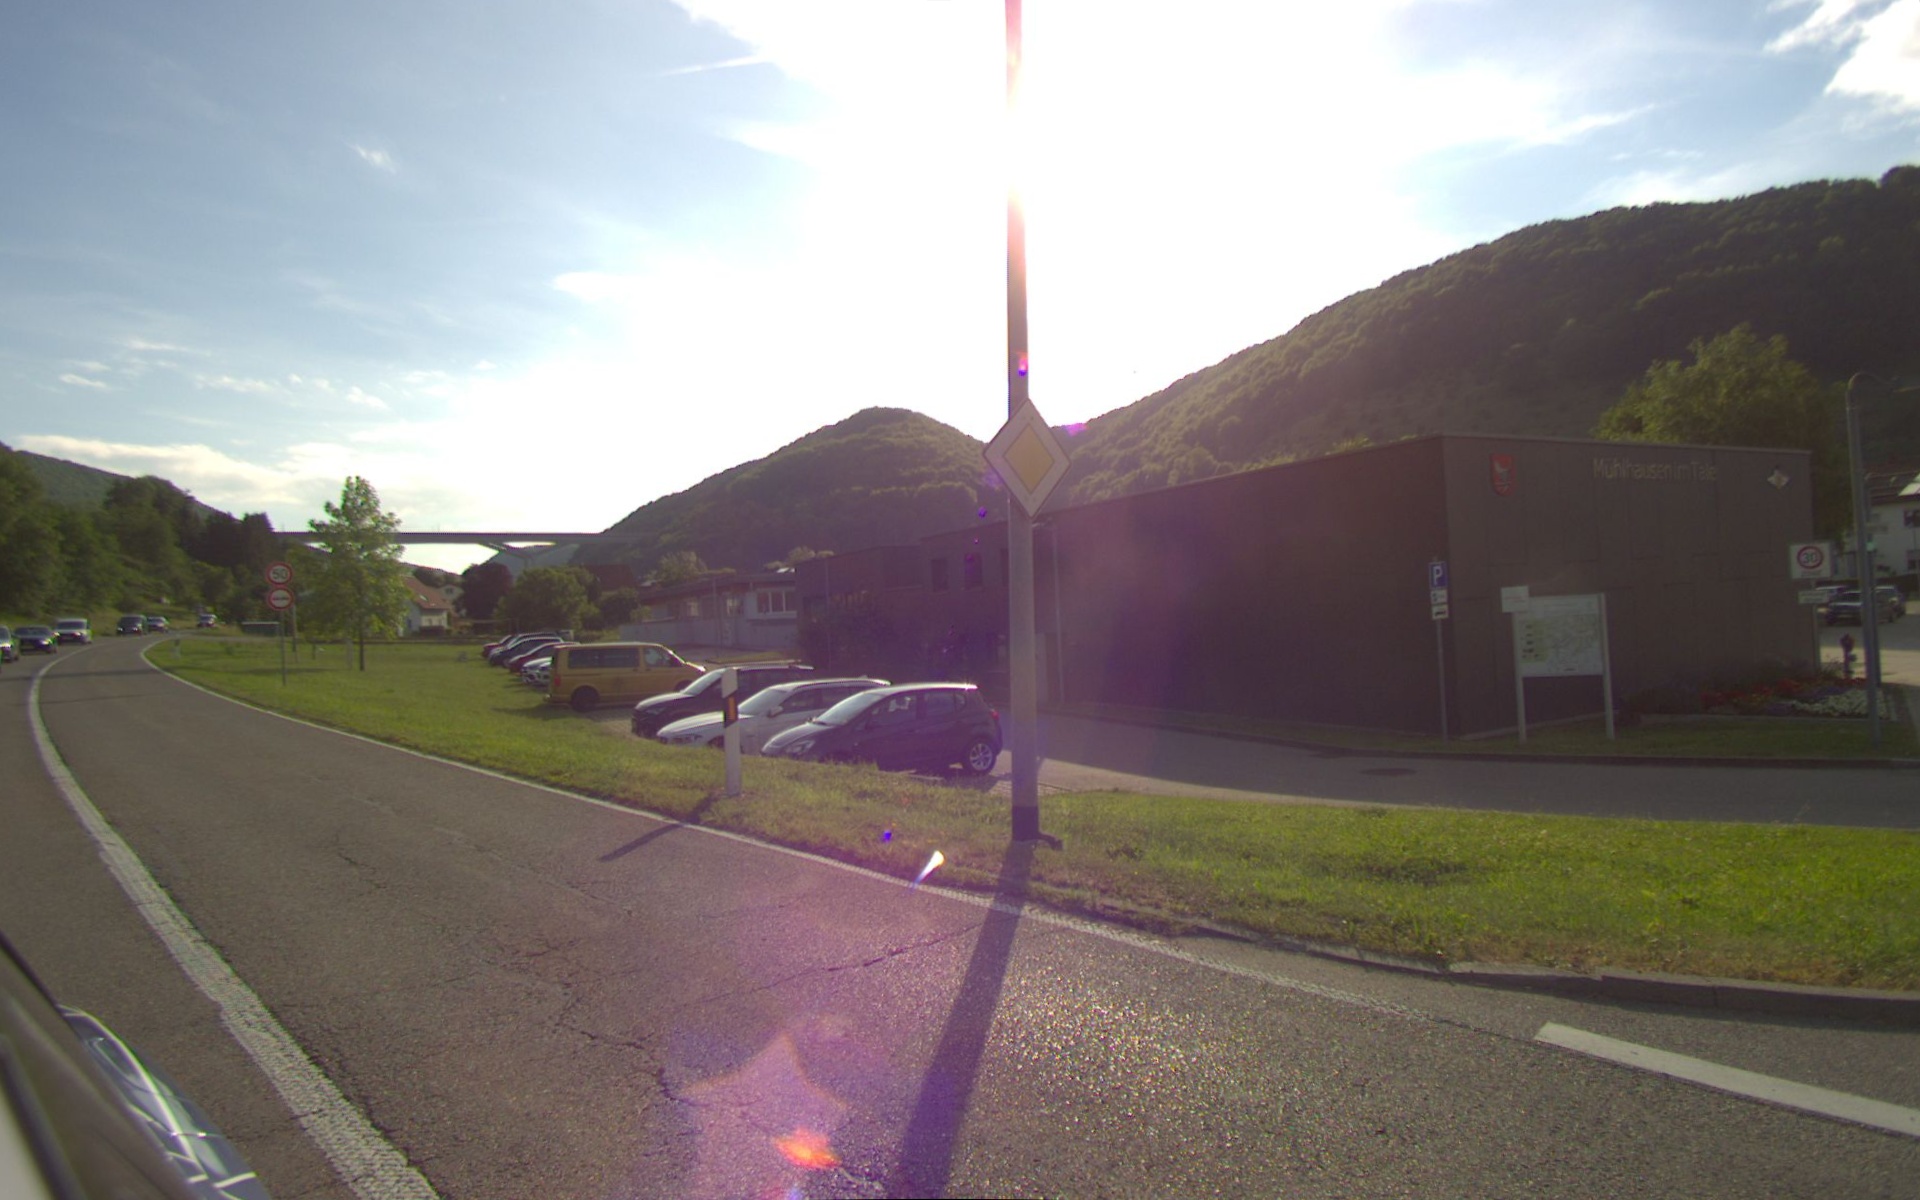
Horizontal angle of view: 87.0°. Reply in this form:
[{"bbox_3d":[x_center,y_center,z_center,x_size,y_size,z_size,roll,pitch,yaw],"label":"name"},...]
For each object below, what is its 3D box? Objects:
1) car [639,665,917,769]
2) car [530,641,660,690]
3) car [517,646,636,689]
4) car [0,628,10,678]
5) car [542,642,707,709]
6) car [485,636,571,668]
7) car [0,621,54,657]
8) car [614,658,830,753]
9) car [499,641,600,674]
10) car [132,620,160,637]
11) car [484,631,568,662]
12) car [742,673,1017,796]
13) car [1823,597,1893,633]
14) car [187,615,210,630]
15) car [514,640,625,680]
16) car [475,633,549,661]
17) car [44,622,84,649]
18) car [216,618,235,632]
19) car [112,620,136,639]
[{"bbox_3d":[-3.246,2.017,18.336,4.575,1.508,1.918,0,-2,-31],"label":"car"},{"bbox_3d":[-13.935,2.454,38.700,4.476,1.714,2.006,0,-2,-27],"label":"car"},{"bbox_3d":[-15.790,2.722,41.678,4.370,1.599,2.006,0,-2,-27],"label":"car"},{"bbox_3d":[-30.736,1.664,31.317,4.285,1.484,1.774,-3,-2,44],"label":"car"},{"bbox_3d":[-10.302,2.259,31.137,4.582,1.827,2.006,0,-2,-27],"label":"car"},{"bbox_3d":[-24.739,2.955,57.961,4.370,1.595,2.006,-1,-1,-28],"label":"car"},{"bbox_3d":[-47.307,1.986,51.371,1.884,1.698,4.006,0,-2,-41],"label":"car"},{"bbox_3d":[-5.230,2.231,22.355,4.224,1.650,1.918,-2,-1,-32],"label":"car"},{"bbox_3d":[-19.885,2.759,49.045,4.370,1.463,2.006,0,-2,-26],"label":"car"},{"bbox_3d":[-87.587,3.042,108.949,1.966,1.730,4.011,-1,-2,-33],"label":"car"},{"bbox_3d":[-26.740,2.849,62.354,4.594,1.776,2.006,0,-2,-28],"label":"car"},{"bbox_3d":[-1.269,2.029,16.028,3.931,1.546,1.839,0,-2,-28],"label":"car"},{"bbox_3d":[40.534,0.671,45.752,1.997,1.525,3.950,-3,-2,37],"label":"car"},{"bbox_3d":[-101.861,3.055,135.351,1.880,1.918,4.013,-1,0,-28],"label":"car"},{"bbox_3d":[-17.247,2.622,44.738,4.370,1.595,2.006,0,-2,-28],"label":"car"},{"bbox_3d":[-29.596,3.106,66.860,4.370,1.733,2.006,0,-2,-28],"label":"car"},{"bbox_3d":[-60.946,2.396,68.823,4.285,1.749,1.774,-3,-2,44],"label":"car"},{"bbox_3d":[-107.207,3.689,147.720,1.880,1.918,4.012,-1,0,-31],"label":"car"},{"bbox_3d":[-78.850,2.787,95.449,1.653,1.659,3.352,-1,-2,-38],"label":"car"}]
